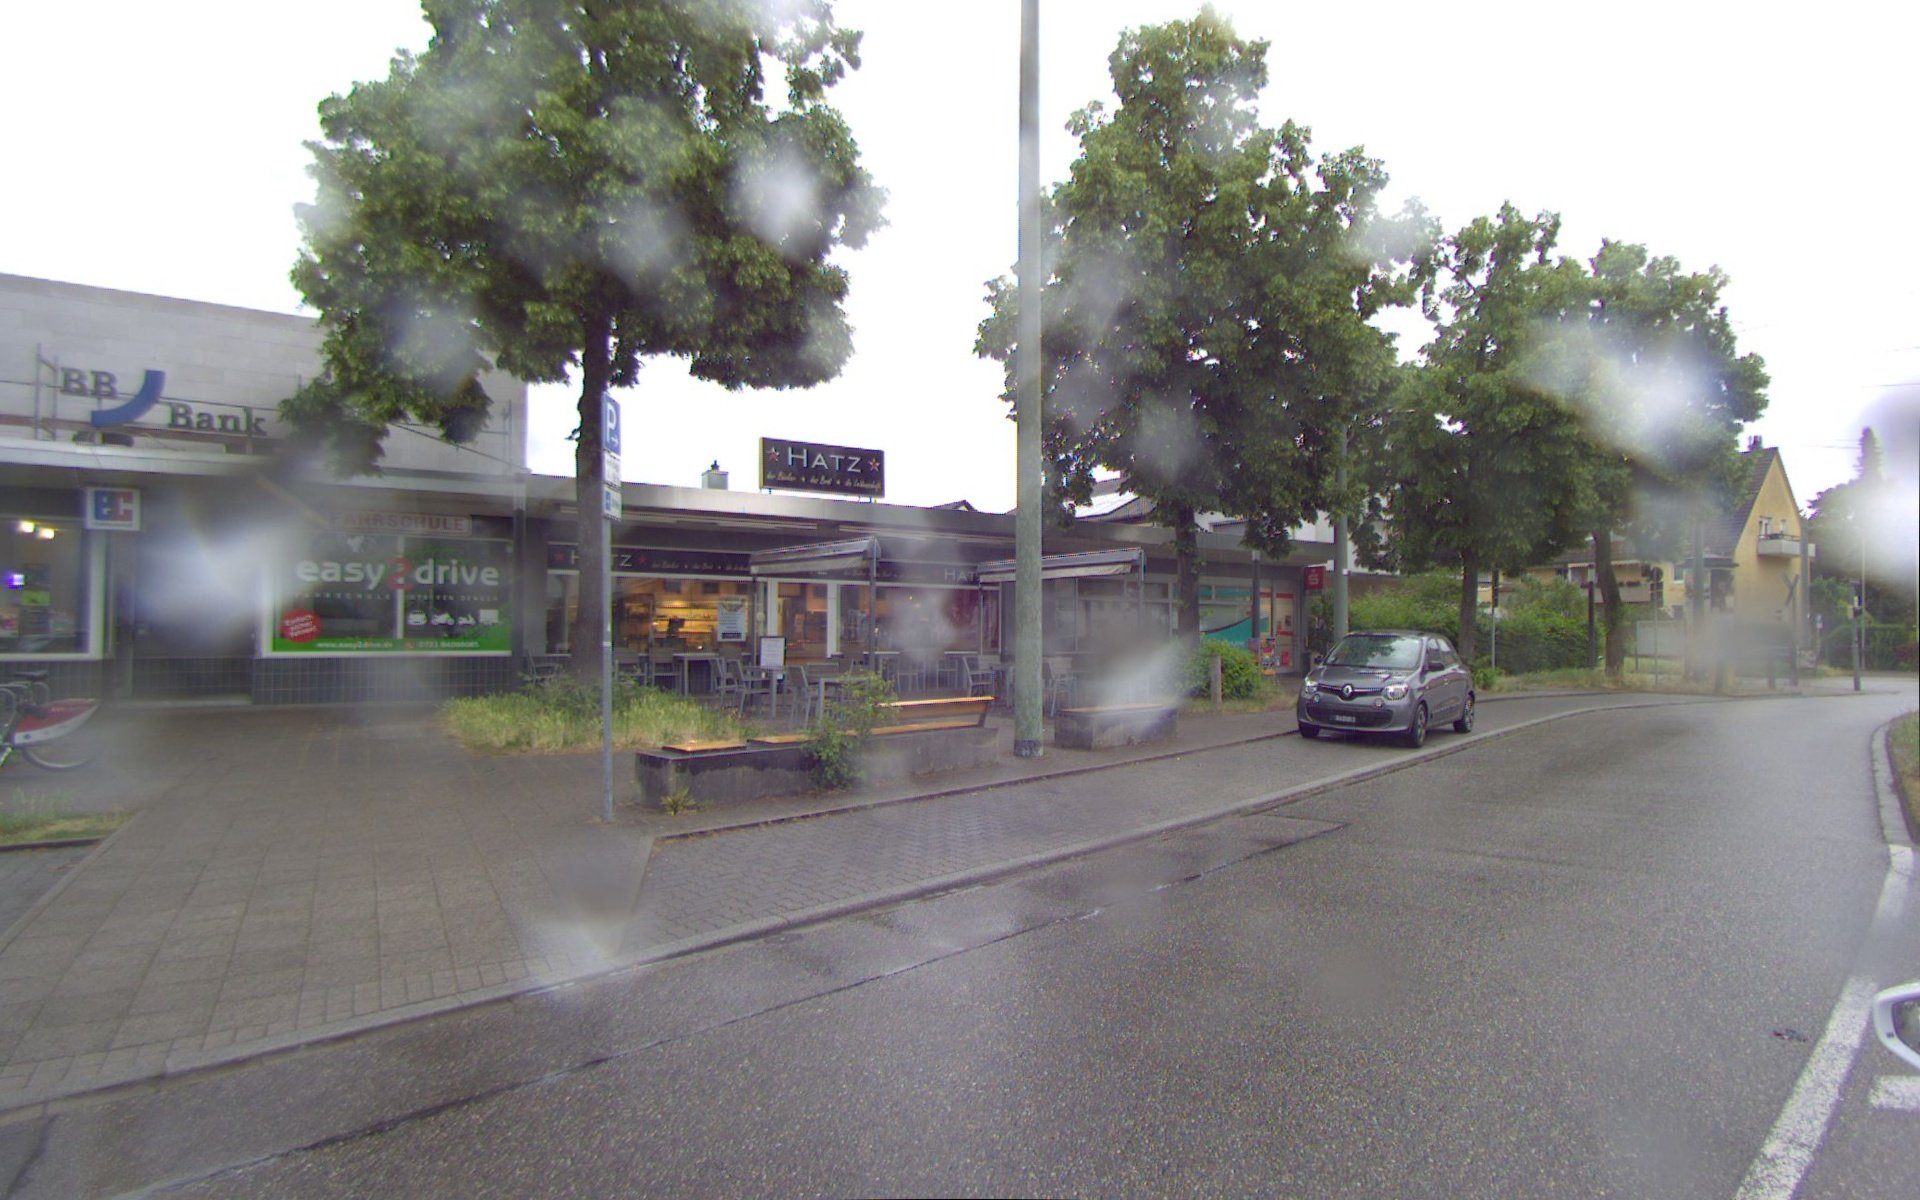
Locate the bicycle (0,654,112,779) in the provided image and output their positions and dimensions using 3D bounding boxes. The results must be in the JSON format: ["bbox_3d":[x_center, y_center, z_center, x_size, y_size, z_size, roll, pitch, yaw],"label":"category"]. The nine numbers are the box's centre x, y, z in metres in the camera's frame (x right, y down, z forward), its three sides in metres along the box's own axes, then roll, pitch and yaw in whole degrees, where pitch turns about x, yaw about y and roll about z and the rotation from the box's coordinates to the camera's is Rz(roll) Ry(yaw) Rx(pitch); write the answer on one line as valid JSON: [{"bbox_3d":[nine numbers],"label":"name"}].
[{"bbox_3d":[-9.005,1.084,9.288,0.314,1.122,1.739,2,0,43],"label":"bicycle"}]

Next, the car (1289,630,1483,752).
[{"bbox_3d":[6.376,1.233,14.836,1.598,1.516,3.649,2,0,40],"label":"car"}]
